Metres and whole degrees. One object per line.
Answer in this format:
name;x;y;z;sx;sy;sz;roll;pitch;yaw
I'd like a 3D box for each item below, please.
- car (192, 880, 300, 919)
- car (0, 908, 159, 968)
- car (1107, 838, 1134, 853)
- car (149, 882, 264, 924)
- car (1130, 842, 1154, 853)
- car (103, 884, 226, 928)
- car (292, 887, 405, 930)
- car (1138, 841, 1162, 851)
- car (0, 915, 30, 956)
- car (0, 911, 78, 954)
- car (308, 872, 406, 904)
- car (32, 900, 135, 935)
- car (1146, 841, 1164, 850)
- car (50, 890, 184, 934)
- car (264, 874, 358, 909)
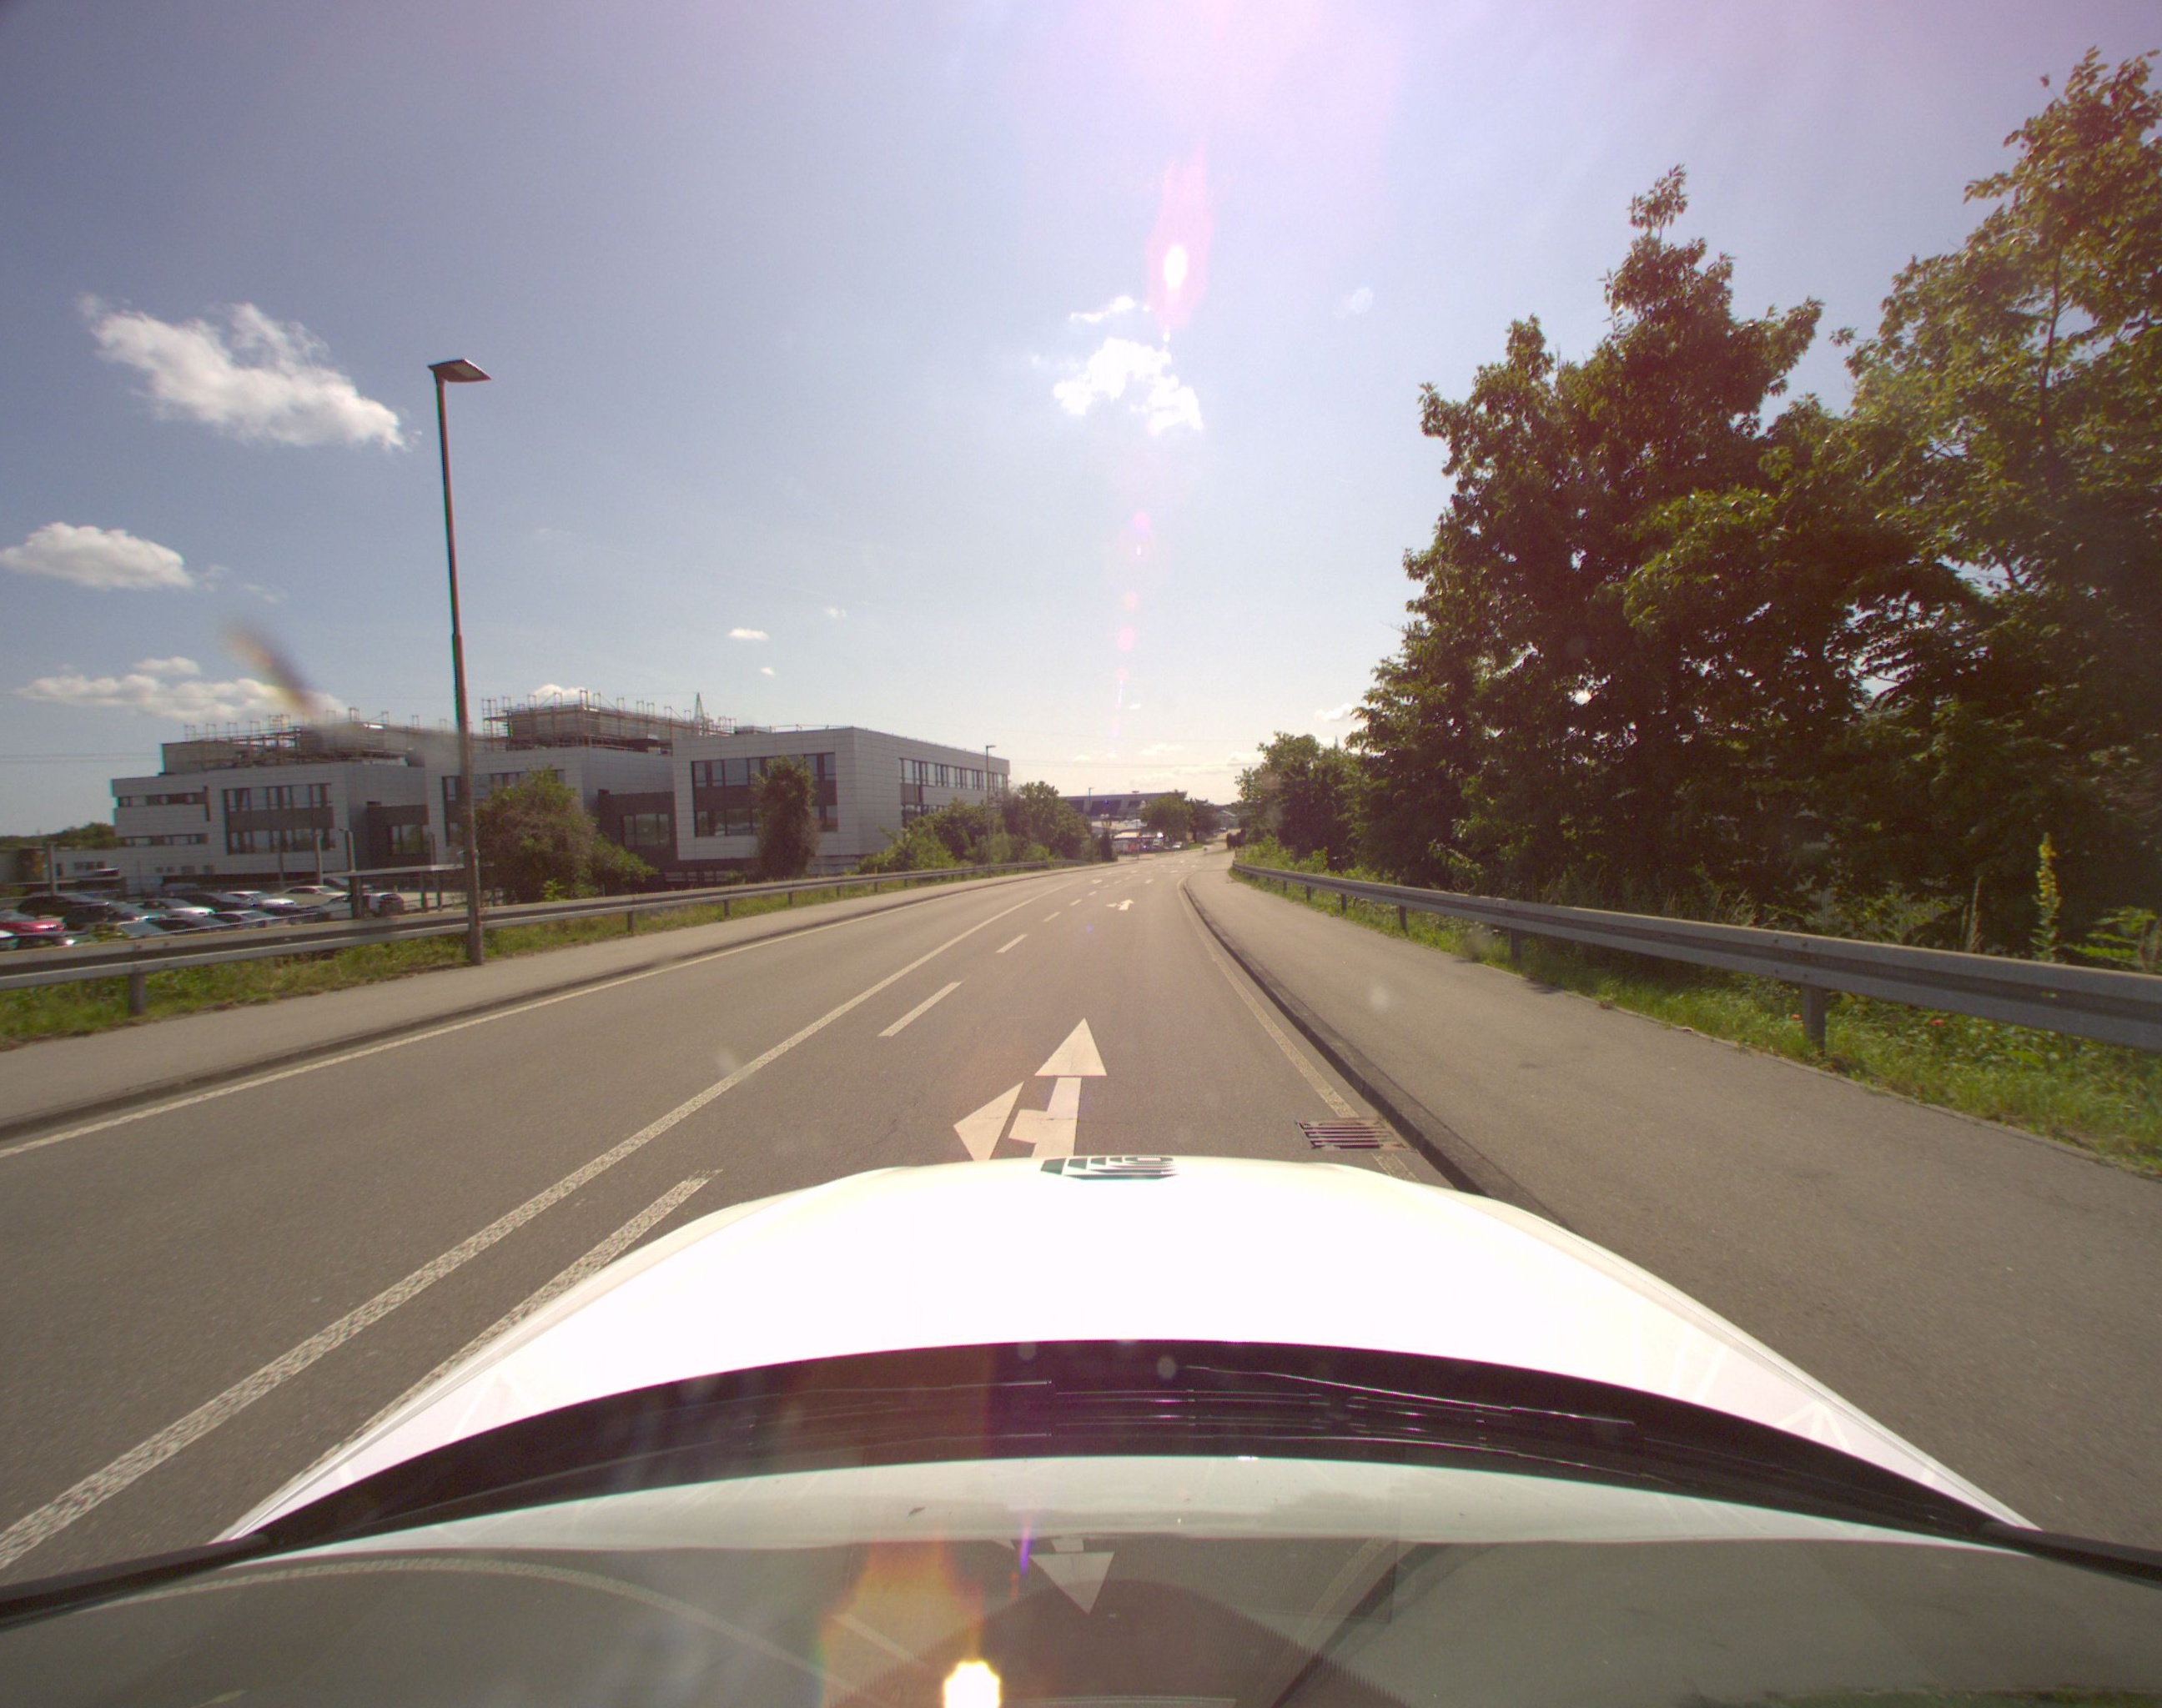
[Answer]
car;-50.401;2.730;49.237;3.987;2.013;1.994;-2;3;-10
car;-38.730;3.208;31.253;3.985;1.870;1.955;-2;3;-9
car;7.028;-1.450;145.000;4.310;2.608;2.012;-1;1;42
car;-50.173;2.778;46.817;3.987;2.013;1.994;-2;3;-10
car;11.097;-1.231;148.073;3.950;1.780;2.013;1;4;42
car;-49.953;2.826;44.474;3.987;2.013;1.994;-2;3;-10
car;-39.049;2.875;43.530;3.985;2.013;1.955;-1;3;-9
car;12.751;-1.490;150.839;3.949;1.903;2.013;1;3;40
car;-48.102;3.621;34.619;3.978;1.684;1.998;-3;0;-3
car;-48.716;3.641;36.817;3.978;1.708;1.998;-3;0;-3
car;-54.252;2.508;61.153;5.069;2.013;1.994;-2;3;-10
car;-66.565;4.202;54.395;3.986;2.013;1.994;-1;0;-9
car;16.603;-1.930;182.523;3.971;1.850;1.836;-2;1;2
car;-49.581;2.950;41.978;3.987;1.903;1.994;-2;3;-10
car;-51.278;2.495;54.302;3.987;2.013;1.994;-2;3;-10
